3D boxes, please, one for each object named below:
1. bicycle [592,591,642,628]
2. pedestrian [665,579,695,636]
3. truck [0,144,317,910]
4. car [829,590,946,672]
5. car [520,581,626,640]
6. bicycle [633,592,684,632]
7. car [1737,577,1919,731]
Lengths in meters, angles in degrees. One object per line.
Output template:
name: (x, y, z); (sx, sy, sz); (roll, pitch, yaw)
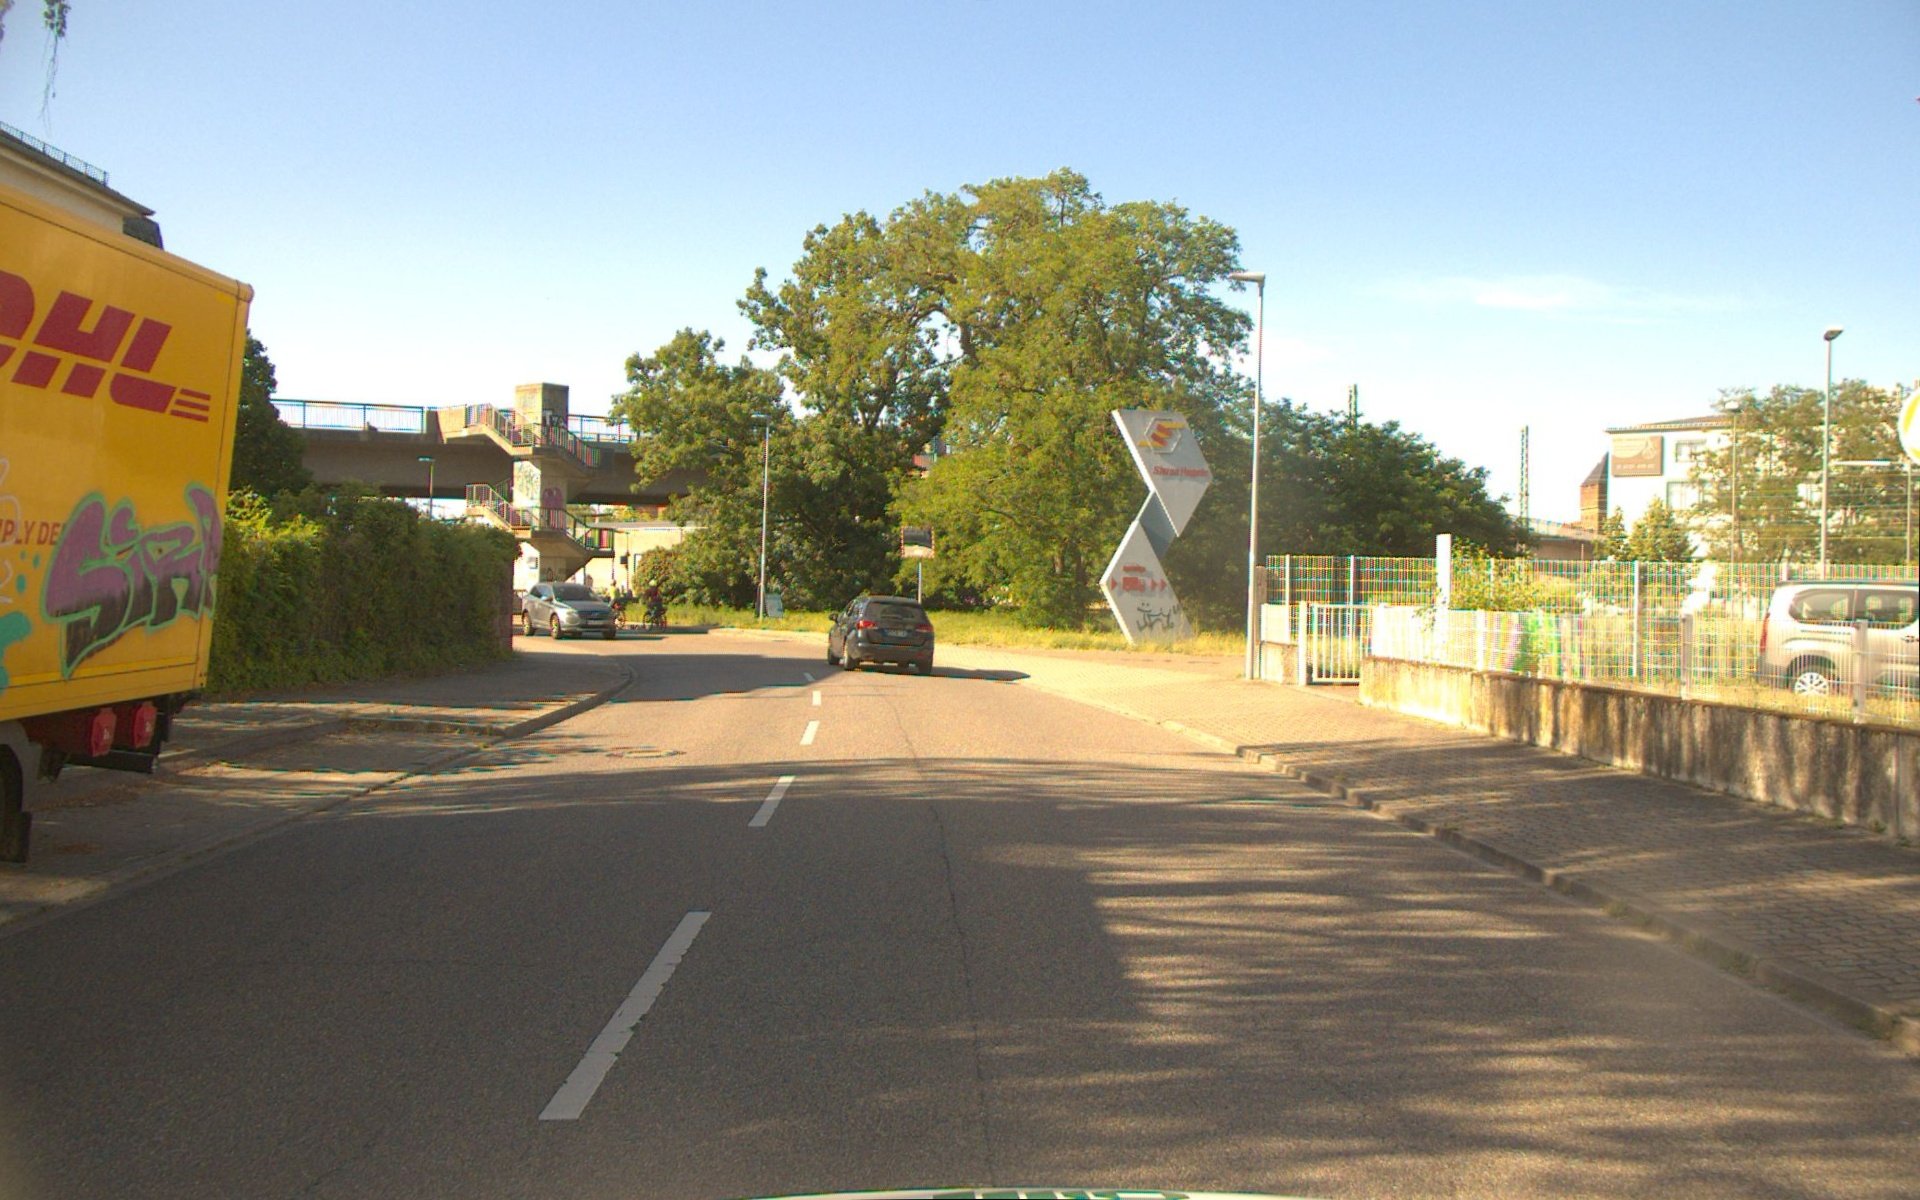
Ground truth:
bicycle: (-12.537, 0.345, 60.389); (0.798, 1.242, 2.226); (3, -1, -40)
pedestrian: (-9.439, 0.252, 55.789); (0.652, 1.867, 0.783); (3, -1, -38)
truck: (-5.720, -0.399, 6.704); (2.580, 3.564, 8.656); (7, 1, -1)
car: (-1.540, 0.590, 33.575); (1.814, 1.557, 3.989); (0, 0, -11)
car: (-11.918, 0.277, 50.730); (1.974, 1.716, 4.160); (0, 0, -32)
bicycle: (-10.450, 0.403, 57.282); (0.797, 1.290, 2.230); (3, -1, -36)
car: (13.503, 0.721, 22.418); (1.866, 2.049, 5.077); (1, 0, -44)
